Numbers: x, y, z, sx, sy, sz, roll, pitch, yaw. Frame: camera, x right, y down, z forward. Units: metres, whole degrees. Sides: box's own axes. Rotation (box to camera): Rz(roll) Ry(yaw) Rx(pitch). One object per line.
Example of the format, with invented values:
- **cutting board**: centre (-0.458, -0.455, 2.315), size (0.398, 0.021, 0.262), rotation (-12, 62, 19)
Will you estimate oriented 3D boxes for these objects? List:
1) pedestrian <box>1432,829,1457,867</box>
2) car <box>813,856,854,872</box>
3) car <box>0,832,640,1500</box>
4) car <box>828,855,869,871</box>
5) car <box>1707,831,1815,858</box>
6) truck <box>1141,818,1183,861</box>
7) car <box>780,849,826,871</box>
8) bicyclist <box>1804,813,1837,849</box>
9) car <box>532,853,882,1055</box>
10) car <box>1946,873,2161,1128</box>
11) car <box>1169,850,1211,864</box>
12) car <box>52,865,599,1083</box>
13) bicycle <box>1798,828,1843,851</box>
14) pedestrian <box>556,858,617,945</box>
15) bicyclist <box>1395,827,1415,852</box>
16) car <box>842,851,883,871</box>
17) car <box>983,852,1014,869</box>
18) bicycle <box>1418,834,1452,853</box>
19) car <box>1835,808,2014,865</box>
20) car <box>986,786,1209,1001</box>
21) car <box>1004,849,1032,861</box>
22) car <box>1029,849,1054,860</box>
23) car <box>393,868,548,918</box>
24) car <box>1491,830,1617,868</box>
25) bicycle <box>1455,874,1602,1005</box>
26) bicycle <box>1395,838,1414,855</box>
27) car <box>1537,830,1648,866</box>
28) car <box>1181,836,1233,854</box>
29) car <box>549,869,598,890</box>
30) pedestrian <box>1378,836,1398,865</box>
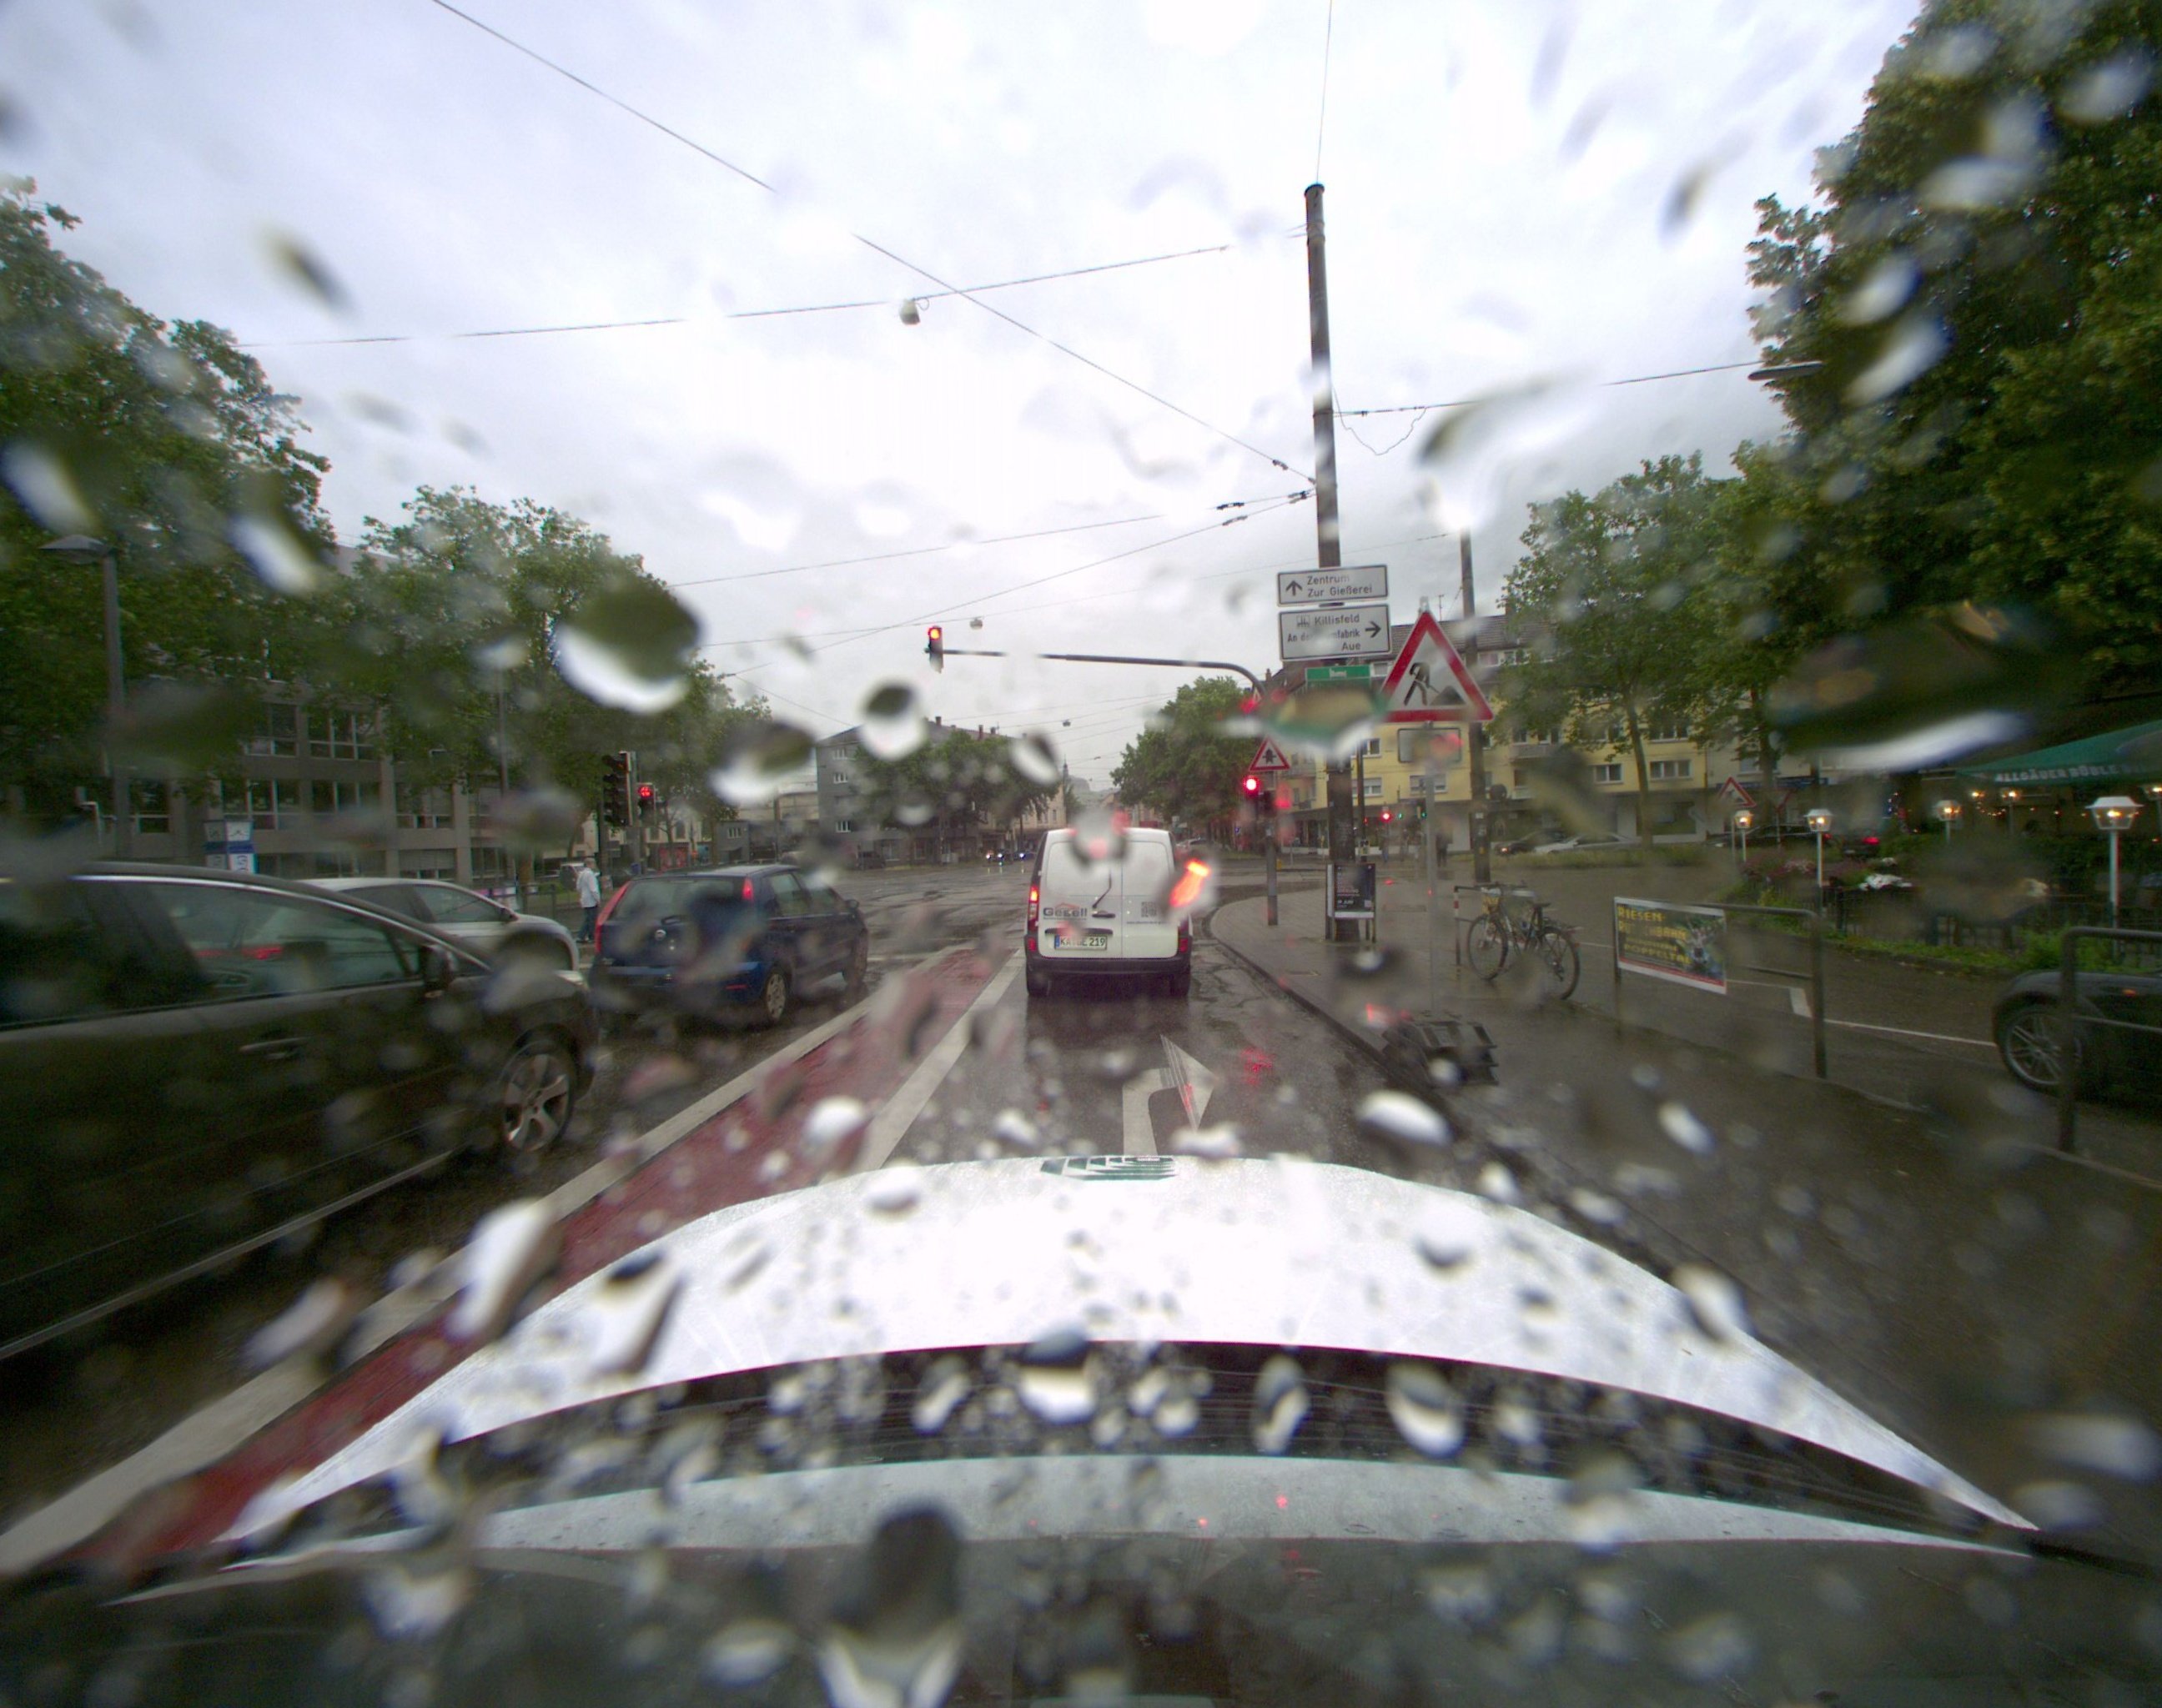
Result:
- **pedestrian**: centre (16.388, -0.263, 36.711), size (0.896, 1.669, 1.026), rotation (-1, 0, 30)
- **car**: centre (-27.323, 1.116, 90.007), size (1.935, 1.495, 4.025), rotation (1, 3, 29)
- **car**: centre (-3.605, 0.795, 2.742), size (1.827, 1.668, 4.174), rotation (-1, 0, 2)
- **car**: centre (-25.260, 0.945, 88.721), size (1.974, 1.530, 4.025), rotation (-1, 2, 29)
- **car**: centre (29.481, -0.422, 35.371), size (3.511, 1.082, 1.248), rotation (-1, 0, 4)
- **truck**: centre (10.602, -1.814, 104.808), size (3.446, 5.087, 15.362), rotation (-1, 0, 13)
- **car**: centre (-30.622, 0.677, 89.865), size (1.975, 2.198, 4.816), rotation (0, 2, 25)
- **bicyclist**: centre (33.937, -1.037, 37.378), size (0.810, 1.615, 0.712), rotation (-1, 0, 3)
- **car**: centre (-3.463, 0.797, 8.423), size (1.720, 1.578, 3.822), rotation (-1, 0, 2)
- **car**: centre (7.228, 0.934, 4.289), size (1.698, 1.442, 3.529), rotation (2, 2, 4)
- **car**: centre (9.638, 0.281, 72.358), size (3.437, 1.130, 1.468), rotation (-1, 0, -6)
- **car**: centre (-6.631, 0.898, 7.826), size (1.623, 1.494, 3.783), rotation (-1, 0, 2)
- **bicycle**: centre (33.937, -0.656, 37.374), size (1.631, 1.002, 0.422), rotation (-1, 0, 2)
- **pedestrian**: centre (-9.381, 0.880, 15.469), size (0.621, 1.607, 0.744), rotation (-1, 0, 9)
- **bicyclist**: centre (20.638, -0.919, 51.820), size (0.924, 1.547, 1.076), rotation (-1, 0, 36)
- **car**: centre (-23.265, 0.702, 86.882), size (1.974, 2.013, 4.025), rotation (-1, 0, 29)
- **car**: centre (-9.113, 0.710, 90.450), size (1.935, 1.607, 4.020), rotation (-1, 2, 19)
- **bicycle**: centre (24.442, -0.720, 56.212), size (2.085, 1.261, 0.534), rotation (-1, 1, 16)
- **car**: centre (29.769, -0.586, 28.875), size (3.960, 1.866, 2.007), rotation (-1, 0, 12)
- **car**: centre (0.238, 0.381, 10.347), size (2.092, 2.012, 4.965), rotation (-2, 0, 2)
- **car**: centre (-7.491, 0.157, 97.184), size (1.935, 1.239, 4.020), rotation (-1, 2, 19)
- **car**: centre (-5.082, 0.047, 105.182), size (1.935, 1.239, 4.020), rotation (-1, 2, 19)
- **car**: centre (-18.522, 1.138, 24.904), size (1.582, 1.314, 3.538), rotation (-1, 0, 16)
- **car**: centre (22.949, -0.196, 39.730), size (4.902, 1.643, 2.007), rotation (-1, -2, 14)
- **bicycle**: centre (4.542, 0.804, 8.432), size (0.512, 1.107, 2.019), rotation (1, 1, 4)
- **bicycle**: centre (20.583, -0.469, 51.814), size (0.651, 1.027, 2.037), rotation (-1, 0, 36)
- **car**: centre (22.886, -0.277, 36.599), size (3.906, 1.490, 1.815), rotation (-1, 1, 17)
- **car**: centre (10.879, -0.796, 70.273), size (4.160, 1.338, 1.518), rotation (-2, 1, -6)
- **car**: centre (-40.892, 2.036, 65.630), size (3.734, 1.494, 1.572), rotation (-3, 0, 27)
- **pedestrian**: centre (16.534, -0.191, 43.862), size (0.820, 1.534, 0.616), rotation (-1, 0, -37)
